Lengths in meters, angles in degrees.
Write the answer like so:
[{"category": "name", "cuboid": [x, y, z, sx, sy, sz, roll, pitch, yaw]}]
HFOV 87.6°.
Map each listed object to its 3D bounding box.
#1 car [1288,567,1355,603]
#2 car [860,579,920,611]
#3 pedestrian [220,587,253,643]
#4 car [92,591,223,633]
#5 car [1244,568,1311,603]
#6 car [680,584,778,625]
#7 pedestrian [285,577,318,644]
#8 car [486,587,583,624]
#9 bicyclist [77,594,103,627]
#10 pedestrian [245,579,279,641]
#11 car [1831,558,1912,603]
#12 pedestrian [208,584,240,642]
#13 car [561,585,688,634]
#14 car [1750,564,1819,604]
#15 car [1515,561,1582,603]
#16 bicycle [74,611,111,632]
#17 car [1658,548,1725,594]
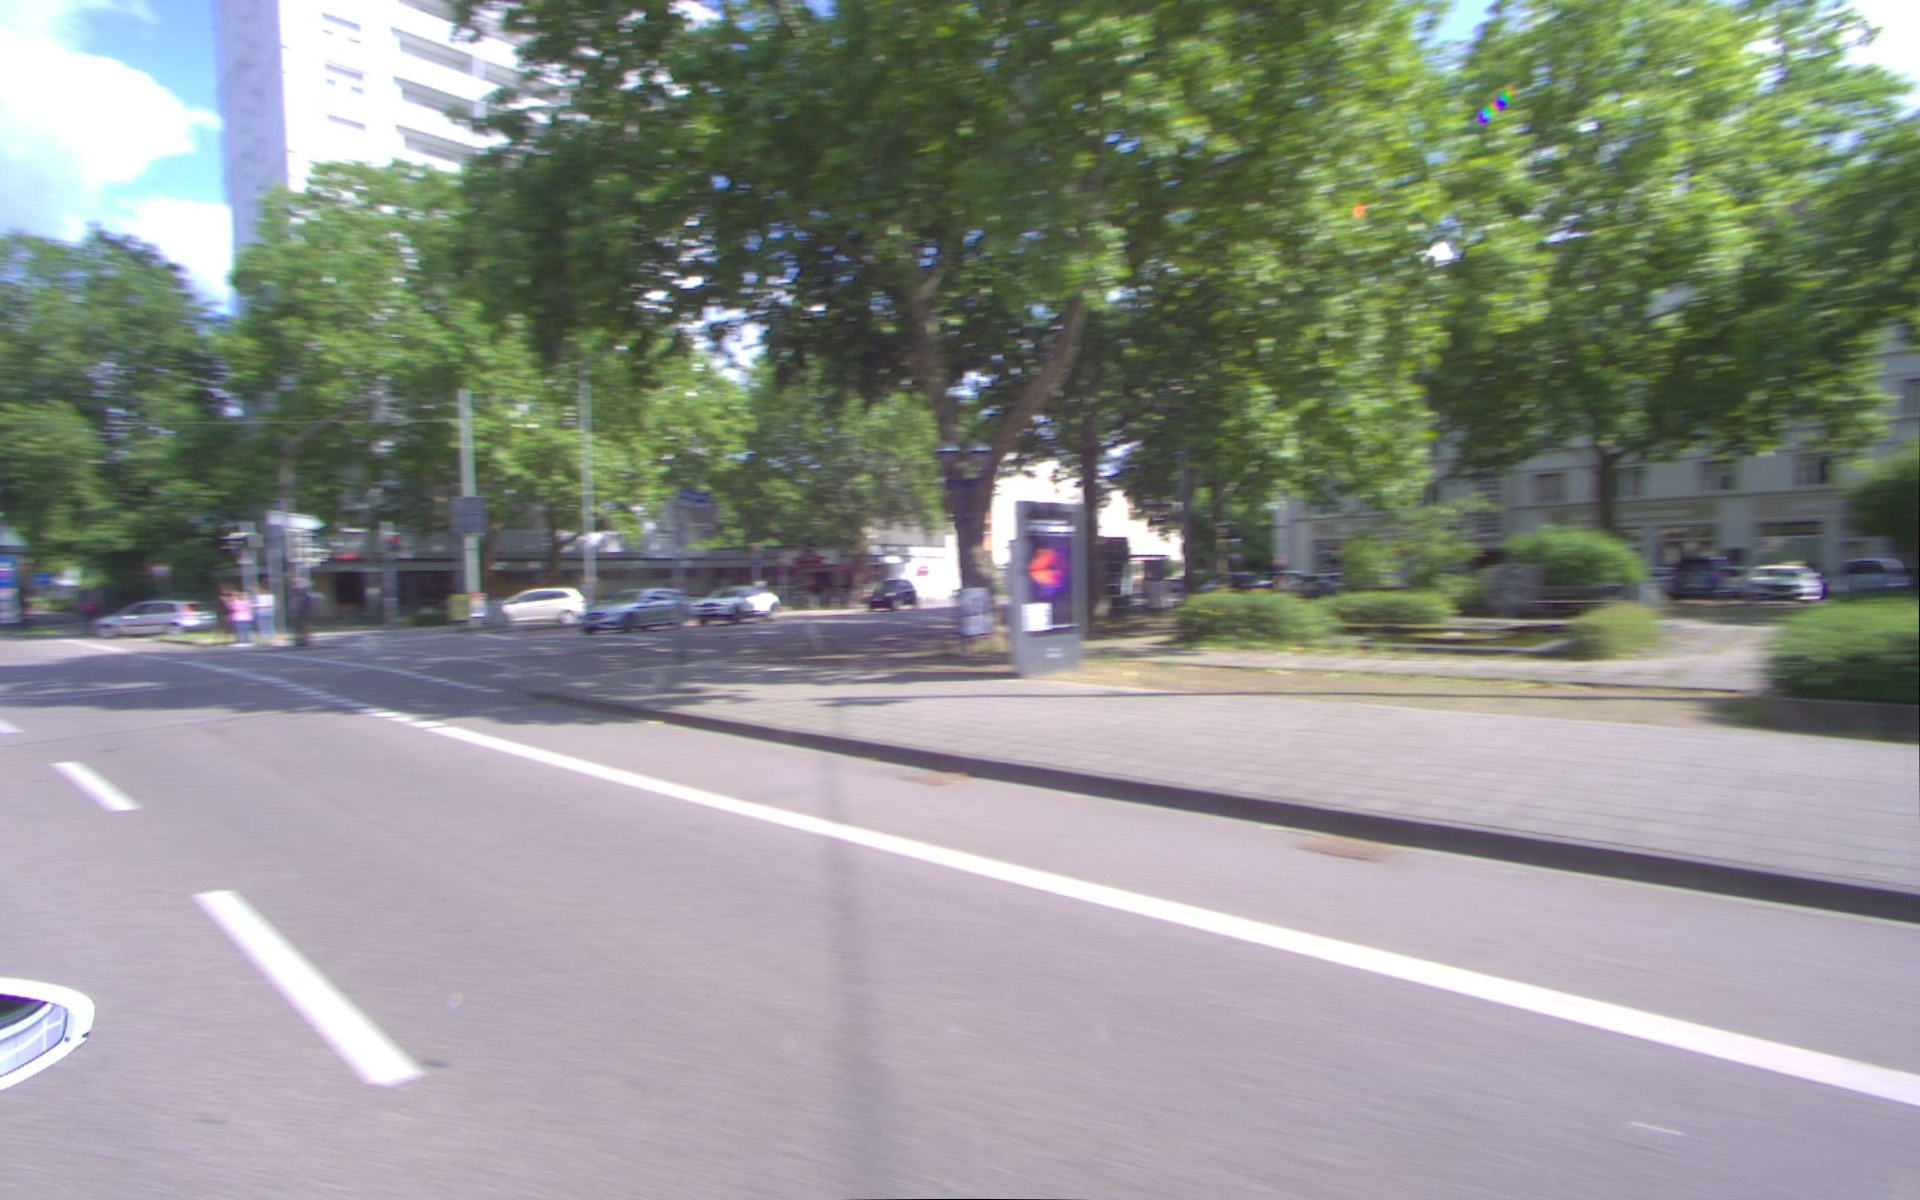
[{"category": "car", "cuboid": [18.106, -0.758, 50.080, 1.830, 1.682, 4.048, 1, 3, 42]}, {"category": "car", "cuboid": [-3.756, -0.289, 54.394, 1.661, 1.642, 3.988, 0, 2, 21]}, {"category": "pedestrian", "cuboid": [-21.240, 0.423, 29.384, 0.547, 1.619, 0.510, 0, 2, 22]}, {"category": "car", "cuboid": [-31.926, 0.450, 39.928, 3.602, 1.505, 1.734, -1, 2, -9]}, {"category": "car", "cuboid": [16.389, -0.762, 51.555, 1.830, 1.682, 4.048, 1, 3, 42]}, {"category": "car", "cuboid": [-9.196, 0.150, 40.182, 1.829, 1.510, 4.063, -1, 2, 22]}, {"category": "pedestrian", "cuboid": [-18.411, 0.287, 28.005, 0.472, 1.850, 0.556, -1, 2, -4]}, {"category": "car", "cuboid": [-18.835, 0.207, 44.373, 3.790, 1.510, 1.852, -2, 2, -27]}, {"category": "bicyclist", "cuboid": [-38.804, 0.467, 44.670, 0.866, 1.403, 0.614, 0, 3, 34]}, {"category": "pedestrian", "cuboid": [-19.980, 0.290, 28.663, 0.547, 1.759, 0.527, 0, 2, 22]}, {"category": "car", "cuboid": [32.737, -0.718, 36.057, 1.846, 1.539, 3.913, 0, 2, 38]}, {"category": "pedestrian", "cuboid": [-21.764, 0.383, 29.615, 0.547, 1.694, 0.510, 0, 2, 22]}, {"category": "car", "cuboid": [-11.338, 0.288, 34.114, 1.831, 1.510, 3.983, 0, 2, 26]}, {"category": "car", "cuboid": [30.607, -0.622, 37.252, 1.846, 1.372, 3.913, 0, 2, 38]}, {"category": "car", "cuboid": [25.146, -0.780, 42.709, 1.829, 1.682, 4.050, 1, 2, 40]}, {"category": "bicycle", "cuboid": [-38.634, 0.931, 44.576, 2.502, 0.892, 0.614, 0, 2, 35]}, {"category": "car", "cuboid": [28.852, -1.133, 39.454, 1.975, 1.707, 3.969, 0, 2, 38]}]
